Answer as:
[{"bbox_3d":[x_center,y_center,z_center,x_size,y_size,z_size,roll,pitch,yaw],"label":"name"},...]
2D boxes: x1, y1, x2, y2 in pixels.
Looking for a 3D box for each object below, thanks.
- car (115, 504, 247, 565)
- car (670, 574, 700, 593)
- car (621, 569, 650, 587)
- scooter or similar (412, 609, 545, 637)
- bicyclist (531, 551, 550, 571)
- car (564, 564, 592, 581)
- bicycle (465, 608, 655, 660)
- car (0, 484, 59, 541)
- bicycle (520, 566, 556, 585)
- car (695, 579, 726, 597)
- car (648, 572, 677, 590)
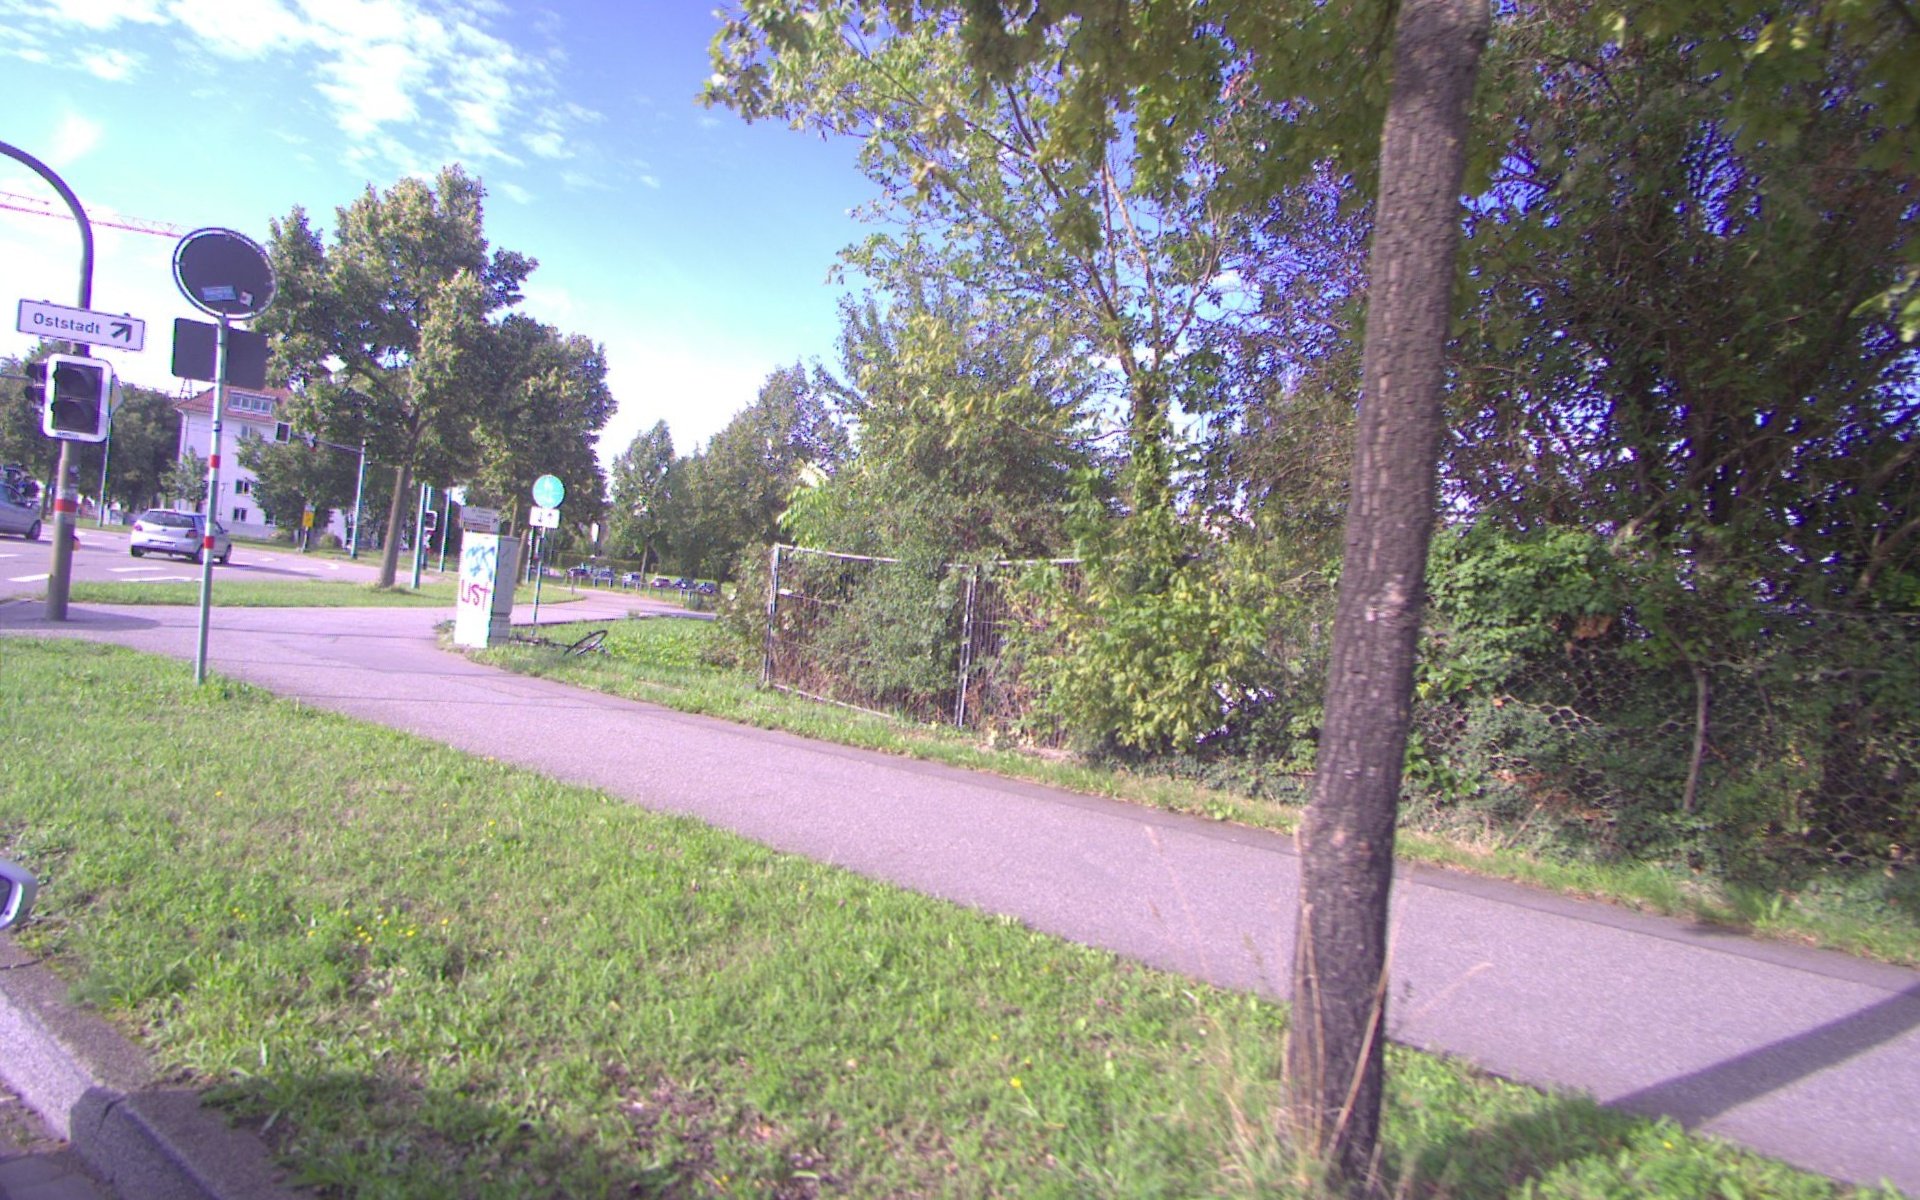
[{"bbox_3d":[-23.151,-1.895,30.107,1.832,1.443,4.432,7,-1,-22],"label":"car"},{"bbox_3d":[-26.797,-1.581,97.919,1.839,1.534,4.912,6,-1,-27],"label":"car"},{"bbox_3d":[-30.995,-2.115,95.984,1.839,1.374,4.802,6,-1,-27],"label":"car"},{"bbox_3d":[-7.683,0.372,16.151,1.268,0.284,1.554,7,0,8],"label":"scooter or similar"},{"bbox_3d":[-31.753,-2.940,76.105,0.702,1.372,1.003,7,1,31],"label":"bicyclist"},{"bbox_3d":[-35.348,-2.557,93.056,1.839,1.376,4.702,6,-1,-27],"label":"car"},{"bbox_3d":[-5.565,0.466,14.135,2.210,0.350,1.090,10,-1,-2],"label":"bicycle"},{"bbox_3d":[-27.512,-2.560,28.253,1.832,1.496,4.430,8,0,-23],"label":"car"},{"bbox_3d":[-32.001,-1.854,76.270,0.702,1.237,2.523,7,0,31],"label":"bicycle"},{"bbox_3d":[-24.669,-1.198,99.356,1.839,1.534,4.439,6,-1,-27],"label":"car"},{"bbox_3d":[-28.726,-1.835,97.074,1.839,1.379,4.439,6,-1,-27],"label":"car"}]
